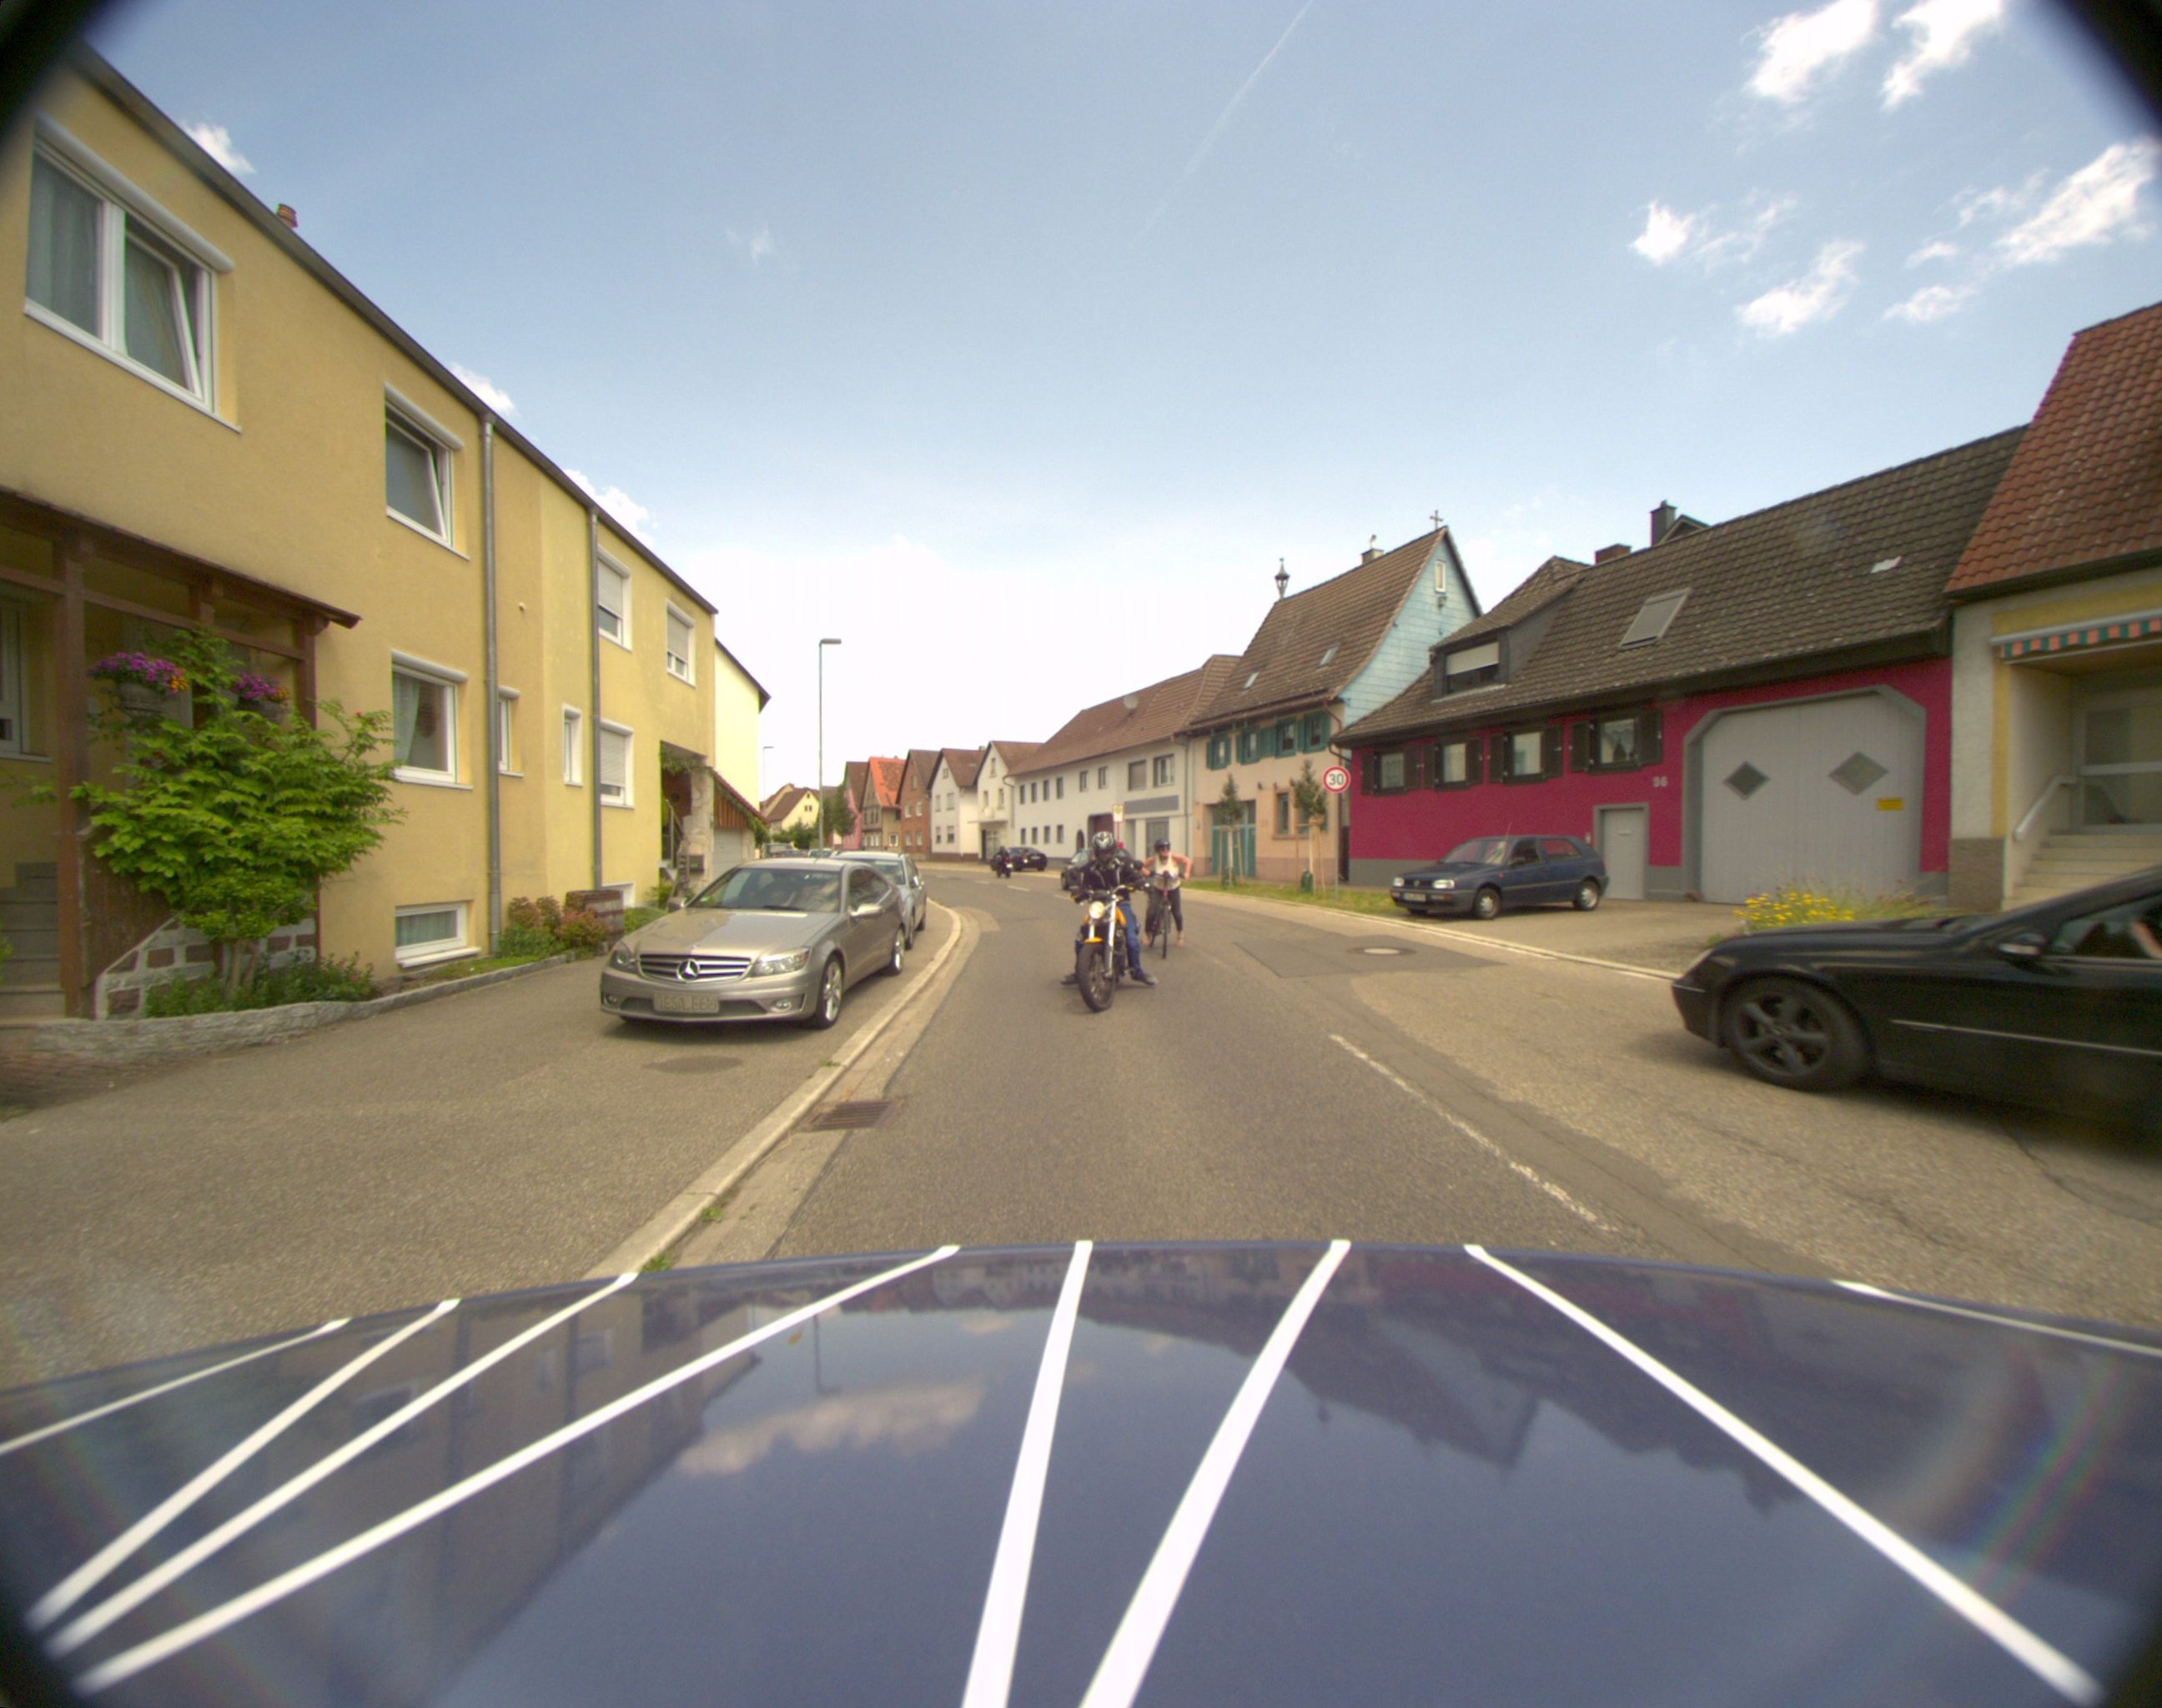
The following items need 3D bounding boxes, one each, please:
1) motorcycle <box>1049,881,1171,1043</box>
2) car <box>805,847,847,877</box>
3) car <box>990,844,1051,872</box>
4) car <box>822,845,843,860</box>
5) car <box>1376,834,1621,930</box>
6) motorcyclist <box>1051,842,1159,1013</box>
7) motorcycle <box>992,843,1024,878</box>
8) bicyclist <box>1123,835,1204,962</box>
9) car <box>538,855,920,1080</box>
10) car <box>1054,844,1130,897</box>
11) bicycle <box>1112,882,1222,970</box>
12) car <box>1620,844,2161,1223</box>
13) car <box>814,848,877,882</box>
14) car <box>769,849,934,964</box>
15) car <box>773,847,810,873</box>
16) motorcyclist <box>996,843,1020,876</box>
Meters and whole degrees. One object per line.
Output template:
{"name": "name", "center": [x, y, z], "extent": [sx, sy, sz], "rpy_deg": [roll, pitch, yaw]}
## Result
{"name": "motorcycle", "center": [0.245, 0.958, 7.532], "extent": [0.985, 1.234, 2.102], "rpy_deg": [-3, 1, 0]}
{"name": "car", "center": [-14.084, 0.456, 41.849], "extent": [1.776, 1.521, 3.992], "rpy_deg": [-1, -1, -25]}
{"name": "car", "center": [-3.483, 0.201, 43.166], "extent": [1.812, 1.412, 4.540], "rpy_deg": [-3, 1, -27]}
{"name": "car", "center": [-28.141, -0.182, 86.070], "extent": [1.687, 1.522, 3.490], "rpy_deg": [-3, 3, -27]}
{"name": "car", "center": [7.581, 0.427, 13.824], "extent": [3.983, 1.456, 1.718], "rpy_deg": [-2, 2, -21]}
{"name": "motorcyclist", "center": [0.232, 0.699, 7.644], "extent": [1.000, 1.591, 0.799], "rpy_deg": [-1, 3, 0]}
{"name": "motorcycle", "center": [-3.447, 0.303, 35.750], "extent": [0.884, 1.552, 1.963], "rpy_deg": [-2, 1, -23]}
{"name": "bicyclist", "center": [1.138, 0.587, 10.607], "extent": [0.910, 1.679, 0.760], "rpy_deg": [-2, 3, -11]}
{"name": "car", "center": [-2.982, 0.817, 7.633], "extent": [1.774, 1.392, 4.422], "rpy_deg": [2, 2, 0]}
{"name": "car", "center": [0.280, 0.454, 24.766], "extent": [1.505, 1.531, 3.850], "rpy_deg": [-1, 2, -14]}
{"name": "bicycle", "center": [1.142, 0.950, 10.620], "extent": [0.935, 1.005, 1.922], "rpy_deg": [-2, 0, -12]}
{"name": "car", "center": [5.217, 0.730, 3.076], "extent": [1.816, 1.404, 4.625], "rpy_deg": [-3, 3, -27]}
{"name": "car", "center": [-10.975, 0.471, 35.246], "extent": [1.731, 1.378, 3.989], "rpy_deg": [-1, 2, -33]}
{"name": "car", "center": [-3.617, 0.733, 12.770], "extent": [1.891, 1.521, 4.332], "rpy_deg": [2, 1, -7]}
{"name": "car", "center": [-19.551, 0.375, 51.247], "extent": [1.668, 1.638, 3.990], "rpy_deg": [-3, 2, -30]}
{"name": "motorcyclist", "center": [-3.456, 0.258, 35.794], "extent": [0.900, 1.546, 0.805], "rpy_deg": [-2, 1, -24]}
